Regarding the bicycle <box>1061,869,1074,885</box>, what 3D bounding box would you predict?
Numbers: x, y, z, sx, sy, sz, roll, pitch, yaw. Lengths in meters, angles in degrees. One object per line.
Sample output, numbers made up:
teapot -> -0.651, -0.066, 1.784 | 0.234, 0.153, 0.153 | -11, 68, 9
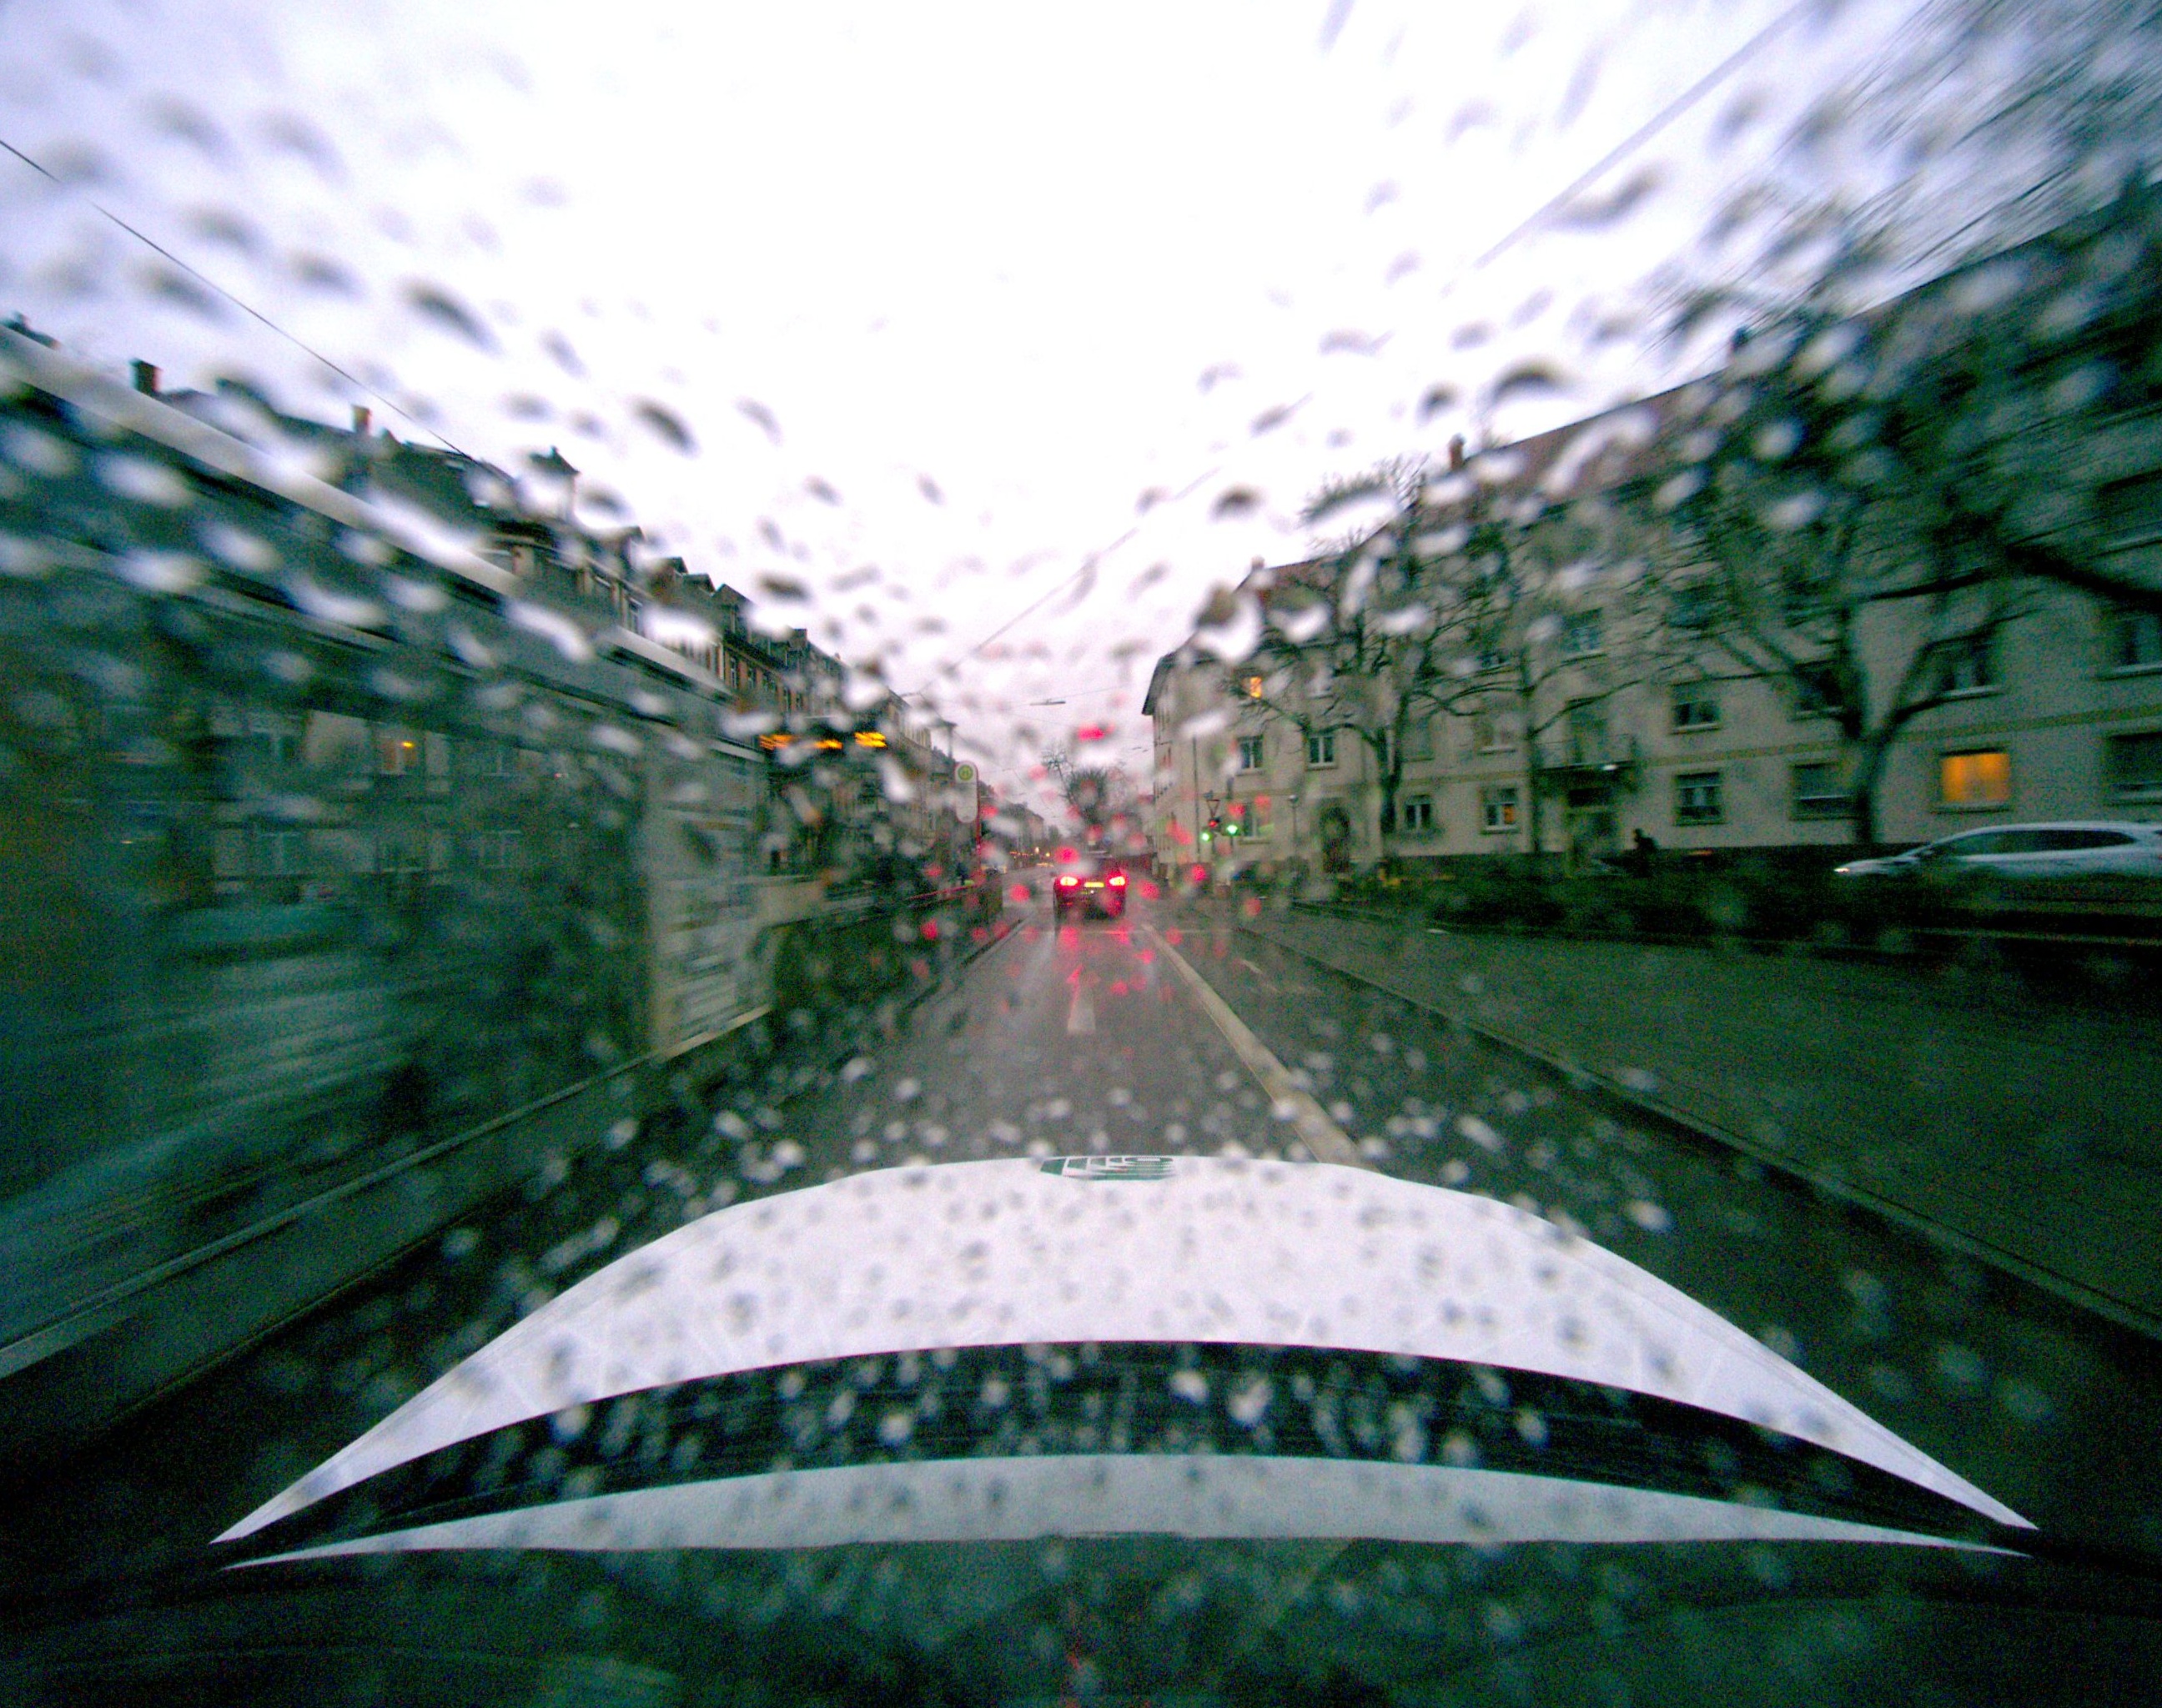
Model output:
bicycle -> -0.885, 1.521, 54.752 | 0.728, 1.007, 1.764 | -1, -1, 2

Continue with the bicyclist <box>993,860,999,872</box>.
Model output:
bicyclist -> -10.831, 1.528, 103.529 | 0.681, 1.616, 0.766 | -1, -1, 2

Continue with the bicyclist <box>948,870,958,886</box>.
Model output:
bicyclist -> -11.421, 2.136, 72.798 | 0.702, 1.364, 0.944 | 0, -1, 2

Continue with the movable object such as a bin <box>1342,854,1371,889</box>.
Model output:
movable object such as a bin -> 9.917, 0.619, 29.336 | 0.843, 1.252, 0.525 | 0, -1, 43

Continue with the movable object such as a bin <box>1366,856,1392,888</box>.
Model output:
movable object such as a bin -> 10.526, 0.634, 28.783 | 0.692, 1.120, 0.542 | 0, -1, 43

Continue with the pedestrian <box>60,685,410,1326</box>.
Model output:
pedestrian -> -2.875, 0.469, 2.828 | 0.555, 1.987, 0.571 | 1, -1, 1

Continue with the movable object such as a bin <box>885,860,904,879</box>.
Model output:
movable object such as a bin -> -15.755, 1.318, 68.824 | 1.238, 1.586, 1.310 | -1, -1, 6

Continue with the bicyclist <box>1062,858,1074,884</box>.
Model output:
bicyclist -> -0.897, 1.117, 54.723 | 0.727, 1.736, 0.766 | -1, -1, 2

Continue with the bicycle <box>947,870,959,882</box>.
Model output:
bicycle -> -11.415, 1.973, 72.756 | 0.679, 1.007, 1.804 | -2, 0, 2

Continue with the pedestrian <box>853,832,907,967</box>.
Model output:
pedestrian -> -2.759, 0.609, 11.226 | 0.555, 1.808, 0.571 | 1, -1, 1

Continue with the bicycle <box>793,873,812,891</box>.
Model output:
bicycle -> -16.518, 1.635, 48.380 | 0.414, 1.007, 1.850 | -2, 0, 2

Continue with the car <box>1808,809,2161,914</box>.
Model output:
car -> 16.340, 0.146, 14.436 | 1.902, 1.510, 4.716 | -5, 0, -23

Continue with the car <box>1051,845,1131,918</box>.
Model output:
car -> 0.193, 0.734, 23.069 | 1.800, 1.871, 4.009 | 1, 0, -6

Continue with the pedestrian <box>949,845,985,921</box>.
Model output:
pedestrian -> -2.912, 0.729, 20.823 | 0.682, 1.917, 0.720 | 1, -1, 12

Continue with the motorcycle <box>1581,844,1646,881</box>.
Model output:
motorcycle -> 16.997, 0.285, 26.028 | 0.572, 1.105, 1.586 | -5, 1, -35

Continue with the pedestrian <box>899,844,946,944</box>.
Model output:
pedestrian -> -2.761, 0.682, 14.208 | 0.655, 1.708, 0.571 | 1, -1, 1

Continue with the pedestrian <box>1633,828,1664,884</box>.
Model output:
pedestrian -> 17.160, 0.048, 24.645 | 0.705, 1.660, 0.692 | -2, 0, 33
